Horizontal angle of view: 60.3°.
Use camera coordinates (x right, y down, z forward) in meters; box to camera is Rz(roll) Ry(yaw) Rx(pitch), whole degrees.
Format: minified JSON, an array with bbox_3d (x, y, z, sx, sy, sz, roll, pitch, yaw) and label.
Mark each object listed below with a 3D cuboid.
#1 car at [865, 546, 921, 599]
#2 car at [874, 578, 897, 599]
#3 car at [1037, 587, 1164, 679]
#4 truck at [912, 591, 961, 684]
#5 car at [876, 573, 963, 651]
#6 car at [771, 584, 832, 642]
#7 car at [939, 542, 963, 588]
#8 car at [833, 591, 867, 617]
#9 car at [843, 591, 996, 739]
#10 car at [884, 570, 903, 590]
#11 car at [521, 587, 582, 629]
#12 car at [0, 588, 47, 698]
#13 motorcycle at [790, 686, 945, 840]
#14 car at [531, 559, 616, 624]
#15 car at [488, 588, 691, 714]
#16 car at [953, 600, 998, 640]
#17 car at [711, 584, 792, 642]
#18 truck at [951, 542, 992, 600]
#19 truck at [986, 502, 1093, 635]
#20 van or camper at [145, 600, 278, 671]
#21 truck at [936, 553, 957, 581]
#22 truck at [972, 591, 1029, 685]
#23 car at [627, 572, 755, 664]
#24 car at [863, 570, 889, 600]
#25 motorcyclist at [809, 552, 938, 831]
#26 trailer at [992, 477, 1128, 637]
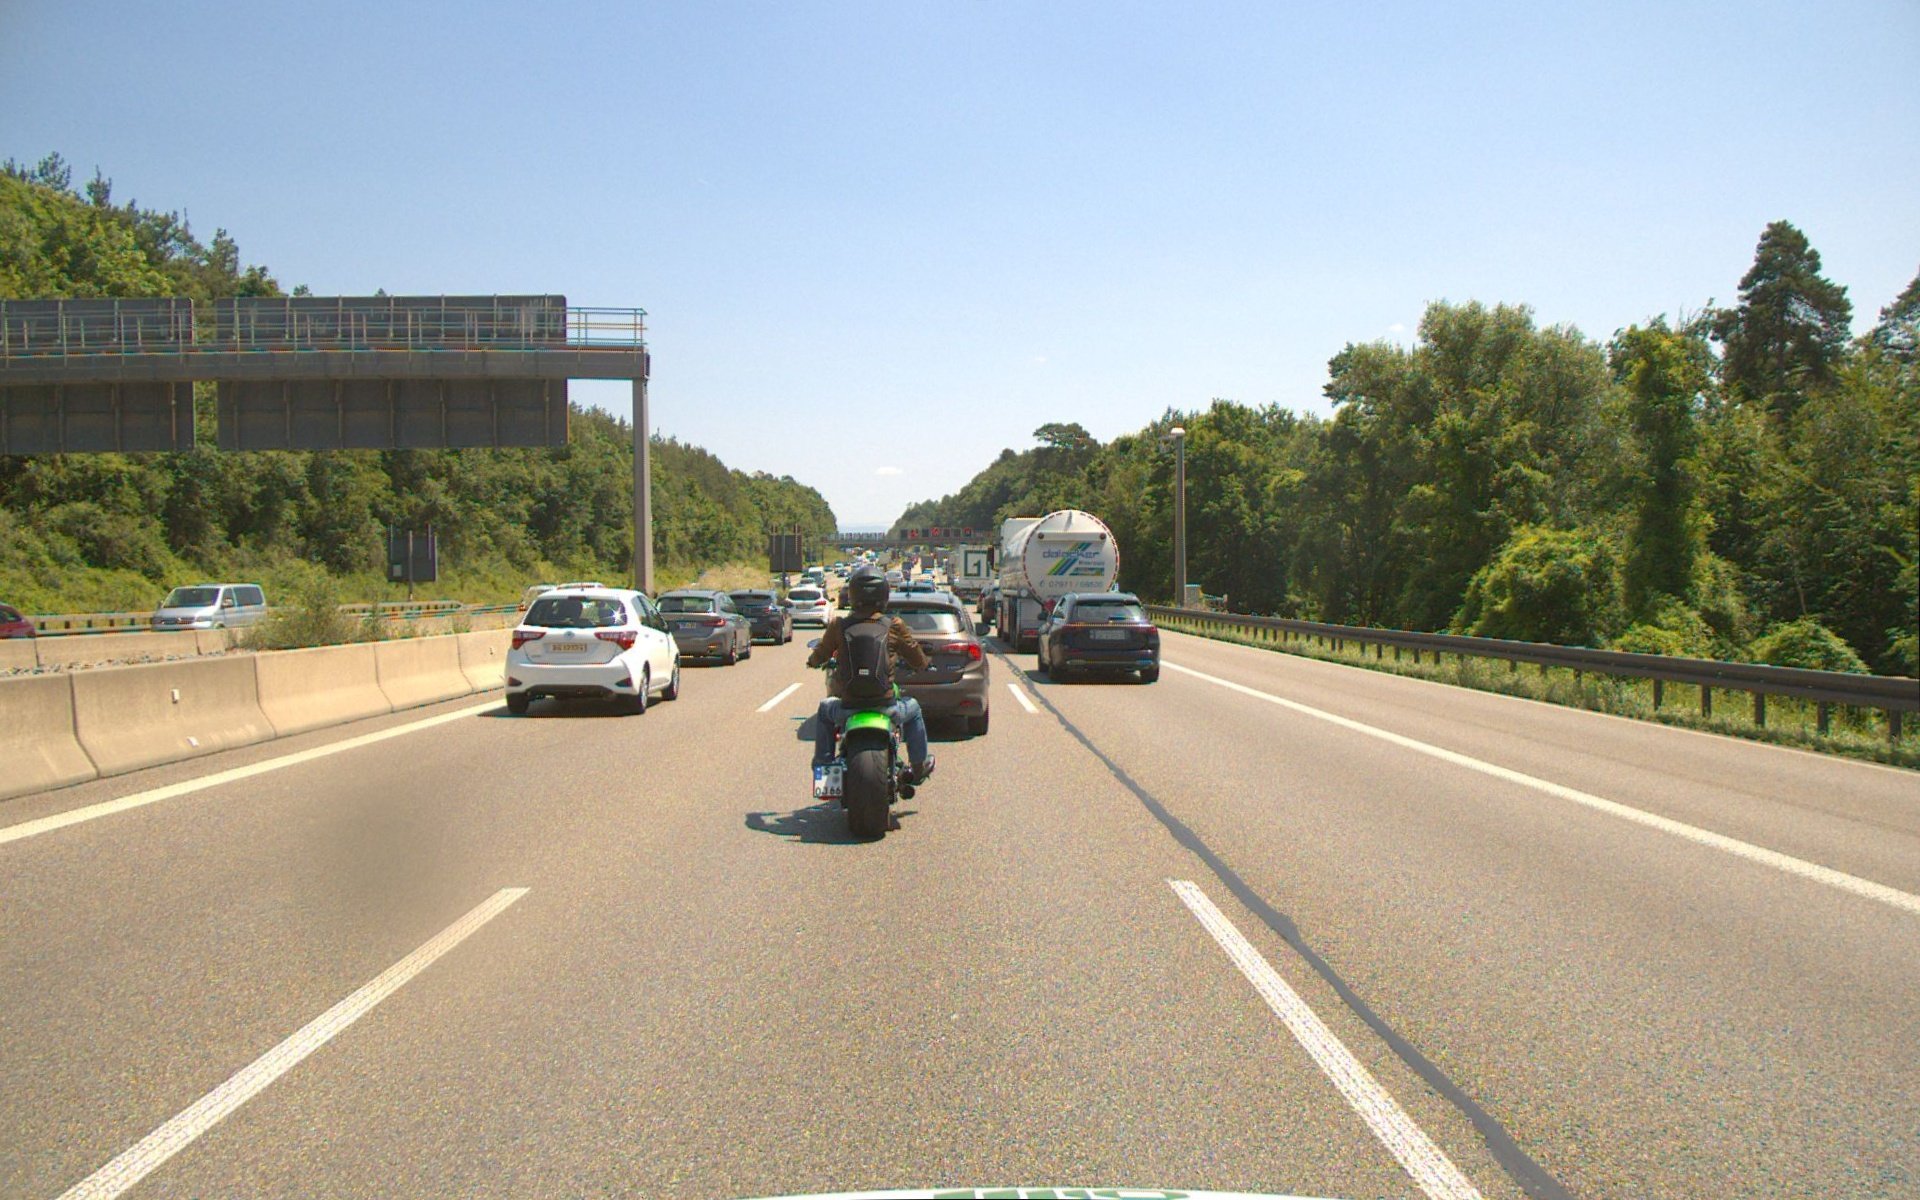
[{"bbox_3d":[-2.453,-0.973,60.862,1.953,1.806,3.998,1,-1,-2],"label":"car"},{"bbox_3d":[-5.898,-0.897,131.288,1.627,1.627,3.999,0,0,-1],"label":"car"},{"bbox_3d":[2.393,0.565,29.171,1.756,1.484,4.622,1,-1,-1],"label":"car"},{"bbox_3d":[-1.324,1.823,87.455,2.340,4.542,10.865,0,1,-2],"label":"truck"},{"bbox_3d":[-0.990,0.304,39.602,1.953,1.741,3.998,1,-1,-2],"label":"car"},{"bbox_3d":[-5.768,0.497,60.544,1.953,2.049,3.998,1,-1,-2],"label":"car"},{"bbox_3d":[-0.863,-3.237,155.931,2.123,3.961,9.327,1,-1,-1],"label":"car"},{"bbox_3d":[-6.241,0.227,94.238,1.728,1.467,3.999,0,0,-1],"label":"car"},{"bbox_3d":[-0.440,0.650,18.545,1.509,1.475,3.999,1,0,-1],"label":"car"},{"bbox_3d":[-7.287,-2.165,180.924,1.953,2.049,3.999,-1,0,-1],"label":"car"},{"bbox_3d":[-20.375,0.433,82.625,1.953,2.049,4.472,1,-1,0],"label":"car"},{"bbox_3d":[-18.925,0.788,30.356,1.953,2.049,4.282,1,-1,0],"label":"car"},{"bbox_3d":[-0.573,1.033,11.033,0.917,0.807,2.298,1,0,-1],"label":"motorcycle"},{"bbox_3d":[-12.858,-0.245,55.240,1.953,2.049,4.191,1,-1,-2],"label":"car"},{"bbox_3d":[-4.607,0.617,21.121,1.740,1.436,3.999,1,-1,-1],"label":"car"},{"bbox_3d":[0.602,0.810,67.539,1.740,1.554,3.999,1,-1,-1],"label":"car"},{"bbox_3d":[-5.609,0.356,44.844,1.954,1.490,3.996,1,-1,-4],"label":"car"},{"bbox_3d":[0.865,-2.044,118.321,2.794,3.888,7.188,0,-1,2],"label":"truck"},{"bbox_3d":[2.300,-0.840,50.122,2.771,3.735,6.427,1,-1,-1],"label":"truck"},{"bbox_3d":[-22.784,1.071,50.553,1.953,2.049,4.679,1,-1,-1],"label":"van or camper"},{"bbox_3d":[-1.792,-4.295,216.686,2.641,3.465,10.475,-1,0,-1],"label":"truck"},{"bbox_3d":[2.023,1.857,87.071,2.340,4.542,10.865,0,1,-2],"label":"truck"},{"bbox_3d":[-5.355,0.375,33.457,1.953,1.713,4.328,1,-1,-1],"label":"car"},{"bbox_3d":[-5.726,-1.021,113.060,1.627,2.013,3.999,0,0,-1],"label":"car"},{"bbox_3d":[-0.544,0.572,10.729,0.782,1.717,1.016,1,-1,-1],"label":"motorcyclist"},{"bbox_3d":[2.449,-0.933,44.189,2.770,3.735,10.729,1,-1,-1],"label":"trailer"}]
